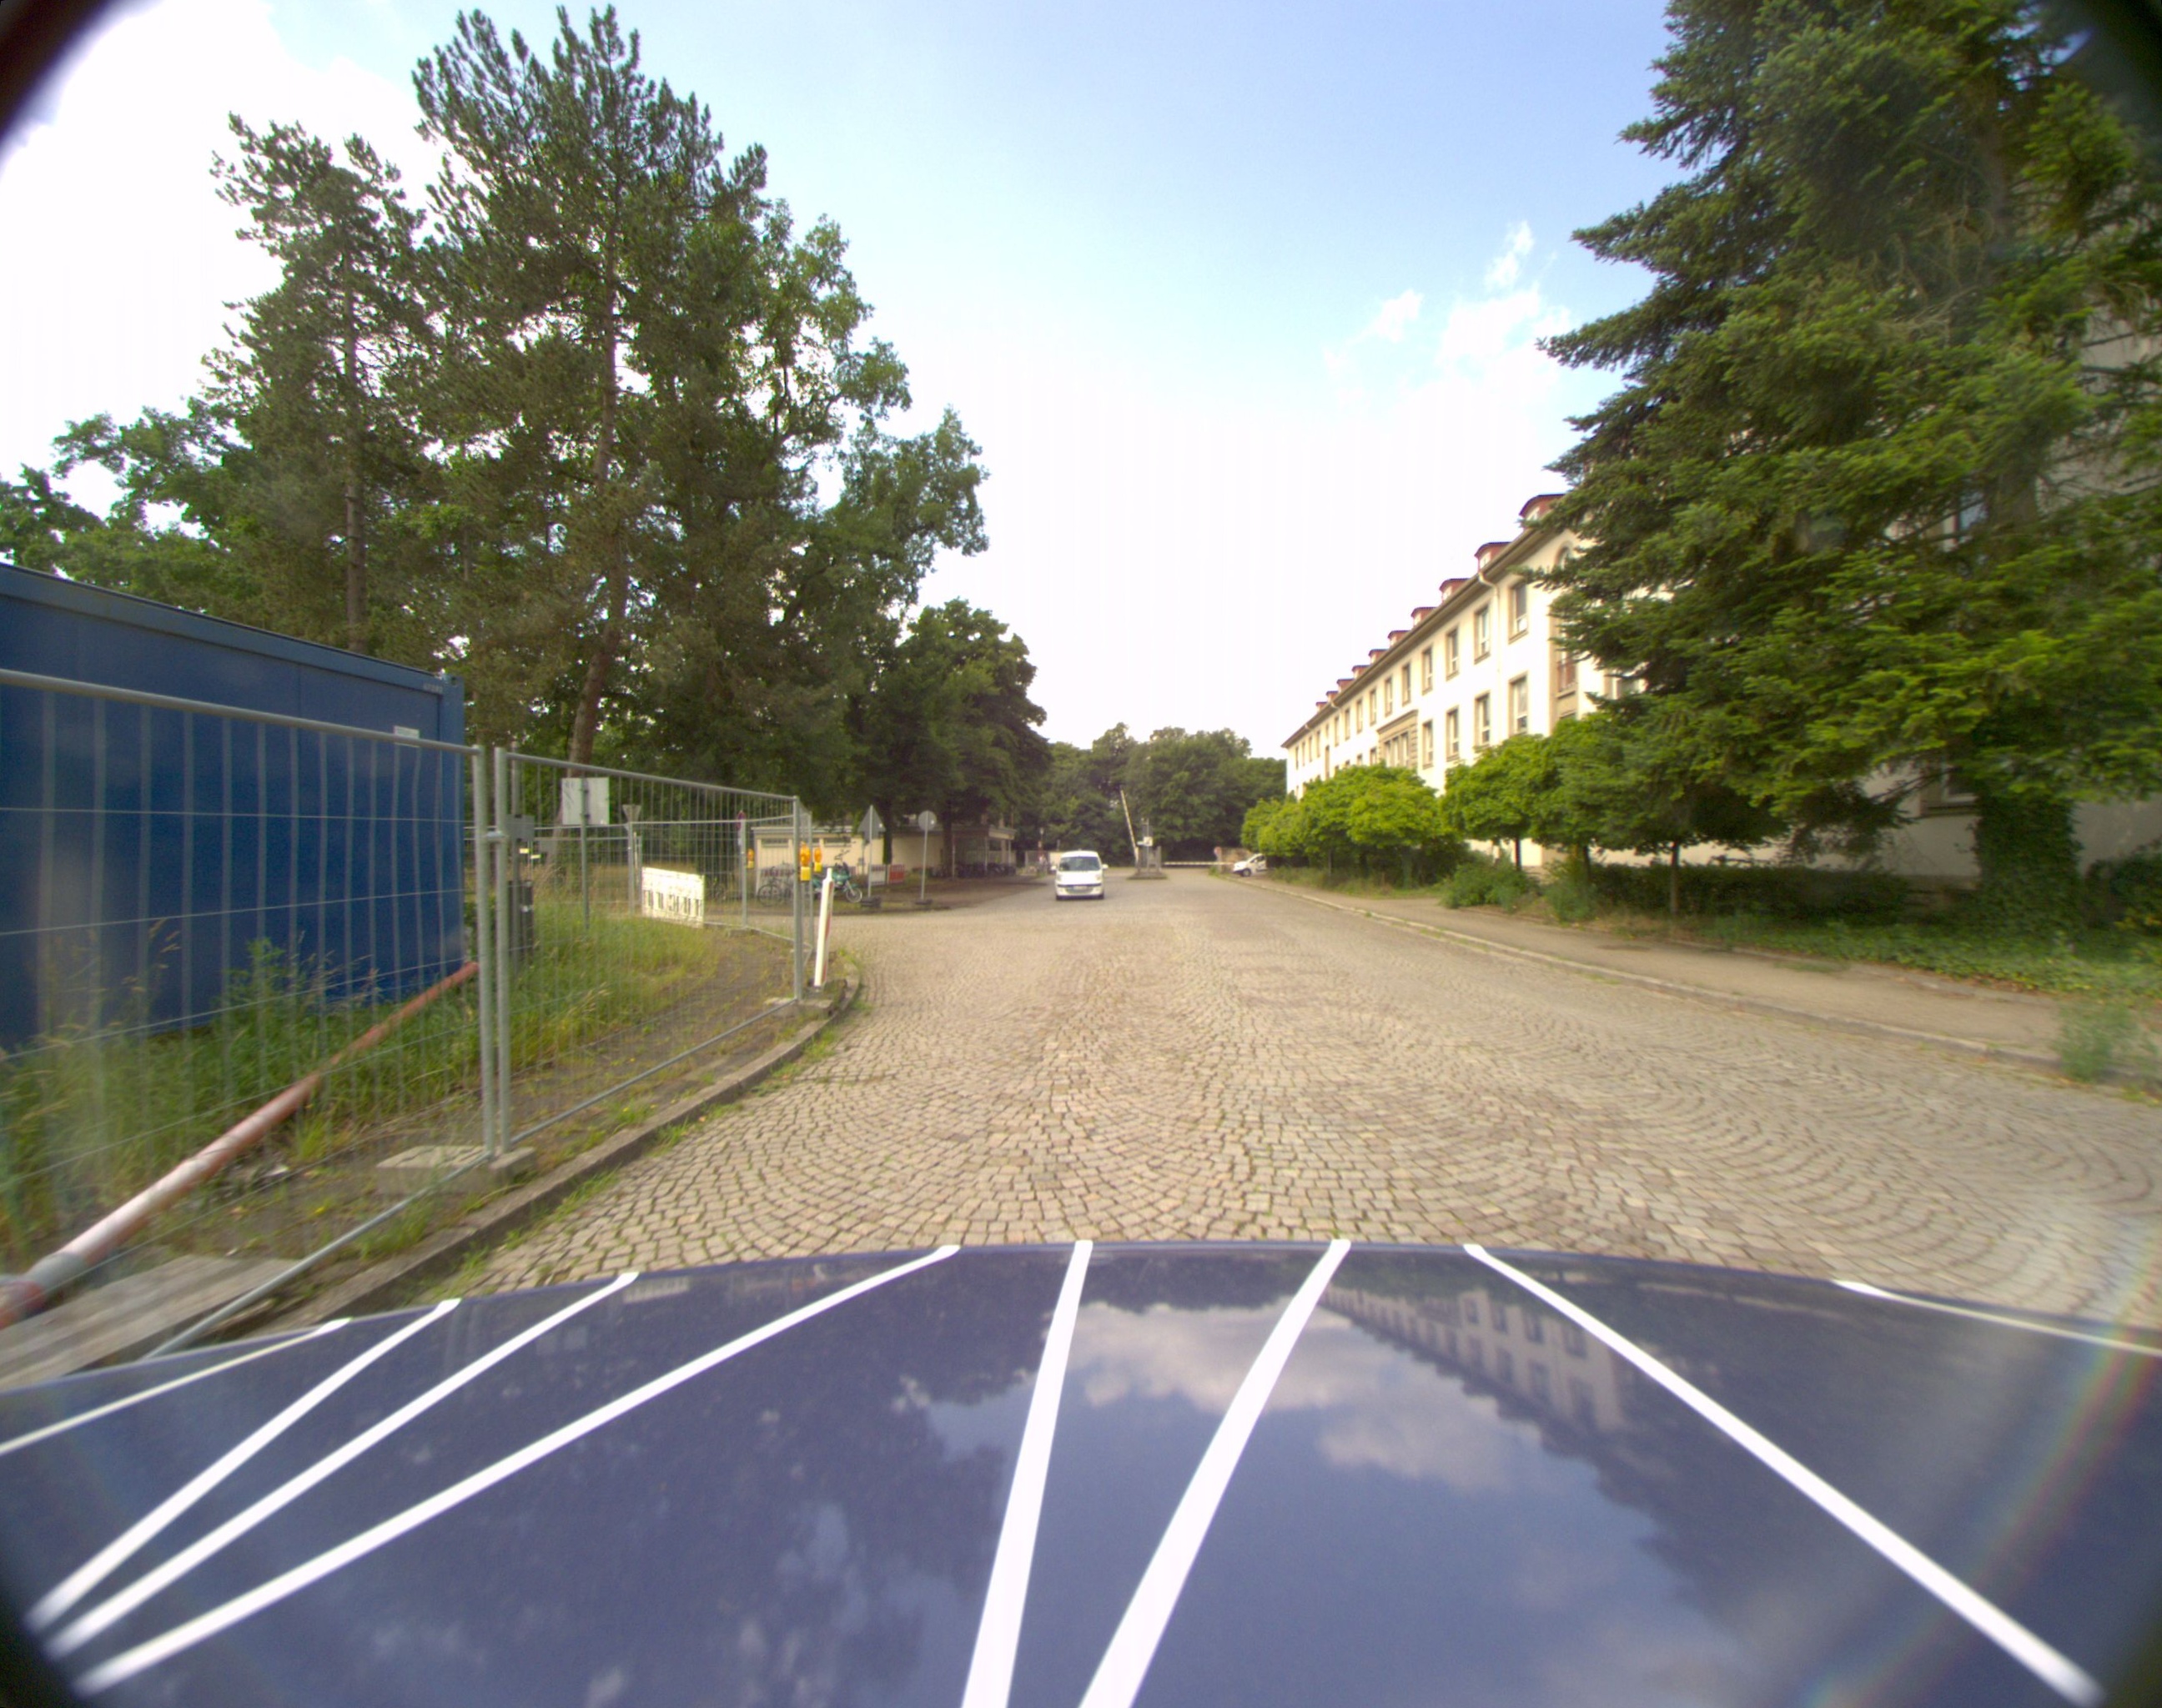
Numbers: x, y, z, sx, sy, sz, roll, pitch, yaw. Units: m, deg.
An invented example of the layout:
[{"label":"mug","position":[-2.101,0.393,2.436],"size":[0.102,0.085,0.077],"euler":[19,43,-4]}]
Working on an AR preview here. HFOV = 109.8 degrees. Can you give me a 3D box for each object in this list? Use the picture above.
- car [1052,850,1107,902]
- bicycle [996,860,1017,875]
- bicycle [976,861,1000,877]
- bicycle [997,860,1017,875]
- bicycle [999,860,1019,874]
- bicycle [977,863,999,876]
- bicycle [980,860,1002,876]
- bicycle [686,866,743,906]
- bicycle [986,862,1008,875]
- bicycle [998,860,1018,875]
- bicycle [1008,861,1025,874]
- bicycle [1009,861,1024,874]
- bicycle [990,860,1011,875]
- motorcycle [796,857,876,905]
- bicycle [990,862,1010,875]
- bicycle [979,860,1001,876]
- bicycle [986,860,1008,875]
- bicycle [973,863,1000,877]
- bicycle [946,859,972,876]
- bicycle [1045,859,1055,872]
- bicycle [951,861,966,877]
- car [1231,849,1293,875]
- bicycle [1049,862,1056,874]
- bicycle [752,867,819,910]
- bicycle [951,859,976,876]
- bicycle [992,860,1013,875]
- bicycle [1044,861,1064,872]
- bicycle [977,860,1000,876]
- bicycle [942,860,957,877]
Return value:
[{"label":"car","position":[0.032,0.791,28.908],"size":[1.866,1.749,4.150],"euler":[-2,0,2]},{"label":"bicycle","position":[-6.009,1.096,61.283],"size":[1.617,1.134,0.325],"euler":[1,0,-3]},{"label":"bicycle","position":[-6.680,1.089,54.357],"size":[1.681,1.102,0.338],"euler":[1,0,-9]},{"label":"bicycle","position":[-6.064,1.105,62.134],"size":[1.617,1.134,0.356],"euler":[1,0,-3]},{"label":"bicycle","position":[-5.955,1.102,62.790],"size":[1.617,1.134,0.356],"euler":[1,0,-3]},{"label":"bicycle","position":[-6.839,1.155,55.906],"size":[1.637,0.970,0.322],"euler":[1,0,-25]},{"label":"bicycle","position":[-6.857,1.052,57.681],"size":[1.635,1.183,0.419],"euler":[1,0,-8]},{"label":"bicycle","position":[-11.189,0.949,23.255],"size":[0.643,1.162,1.906],"euler":[0,-1,7]},{"label":"bicycle","position":[-6.553,1.126,59.107],"size":[1.635,1.044,0.334],"euler":[1,0,-10]},{"label":"bicycle","position":[-5.922,1.093,61.663],"size":[1.617,1.134,0.325],"euler":[1,0,-3]},{"label":"bicycle","position":[-5.429,1.127,63.767],"size":[1.407,1.039,0.338],"euler":[-1,0,-22]},{"label":"bicycle","position":[-5.366,1.119,63.312],"size":[1.154,1.056,0.287],"euler":[-1,0,-16]},{"label":"bicycle","position":[-6.348,1.094,60.172],"size":[1.595,1.134,0.325],"euler":[1,0,-3]},{"label":"motorcycle","position":[-7.802,0.852,24.264],"size":[2.282,1.476,0.757],"euler":[0,0,0]},{"label":"bicycle","position":[-6.354,1.132,59.651],"size":[1.595,1.044,0.325],"euler":[1,0,-3]},{"label":"bicycle","position":[-6.856,1.052,57.067],"size":[1.635,1.183,0.419],"euler":[1,0,-8]},{"label":"bicycle","position":[-6.446,1.040,58.455],"size":[1.635,1.183,0.499],"euler":[1,0,-8]},{"label":"bicycle","position":[-6.866,1.143,55.185],"size":[1.749,0.970,0.757],"euler":[1,0,-25]},{"label":"bicycle","position":[-8.842,0.990,54.906],"size":[1.745,1.158,0.608],"euler":[1,0,1]},{"label":"bicycle","position":[-2.696,0.996,66.103],"size":[0.691,1.055,1.566],"euler":[0,0,5]},{"label":"bicycle","position":[-8.340,1.008,51.763],"size":[0.598,1.110,1.635],"euler":[1,0,4]},{"label":"car","position":[14.005,0.617,59.014],"size":[4.311,1.795,1.821],"euler":[-3,0,2]},{"label":"bicycle","position":[-2.578,1.295,68.831],"size":[0.474,1.051,1.733],"euler":[0,0,5]},{"label":"bicycle","position":[-8.524,0.971,21.906],"size":[1.900,1.190,0.657],"euler":[0,0,24]},{"label":"bicycle","position":[-8.624,0.984,55.920],"size":[1.745,1.158,0.608],"euler":[1,0,1]},{"label":"bicycle","position":[-6.258,1.105,60.838],"size":[1.617,1.134,0.325],"euler":[1,0,-3]},{"label":"bicycle","position":[-2.561,1.165,71.232],"size":[1.867,0.934,0.503],"euler":[1,0,0]},{"label":"bicycle","position":[-6.871,1.053,56.539],"size":[1.635,1.183,0.473],"euler":[1,0,-9]},{"label":"bicycle","position":[-8.966,0.997,51.816],"size":[0.598,1.110,1.635],"euler":[1,0,4]}]
